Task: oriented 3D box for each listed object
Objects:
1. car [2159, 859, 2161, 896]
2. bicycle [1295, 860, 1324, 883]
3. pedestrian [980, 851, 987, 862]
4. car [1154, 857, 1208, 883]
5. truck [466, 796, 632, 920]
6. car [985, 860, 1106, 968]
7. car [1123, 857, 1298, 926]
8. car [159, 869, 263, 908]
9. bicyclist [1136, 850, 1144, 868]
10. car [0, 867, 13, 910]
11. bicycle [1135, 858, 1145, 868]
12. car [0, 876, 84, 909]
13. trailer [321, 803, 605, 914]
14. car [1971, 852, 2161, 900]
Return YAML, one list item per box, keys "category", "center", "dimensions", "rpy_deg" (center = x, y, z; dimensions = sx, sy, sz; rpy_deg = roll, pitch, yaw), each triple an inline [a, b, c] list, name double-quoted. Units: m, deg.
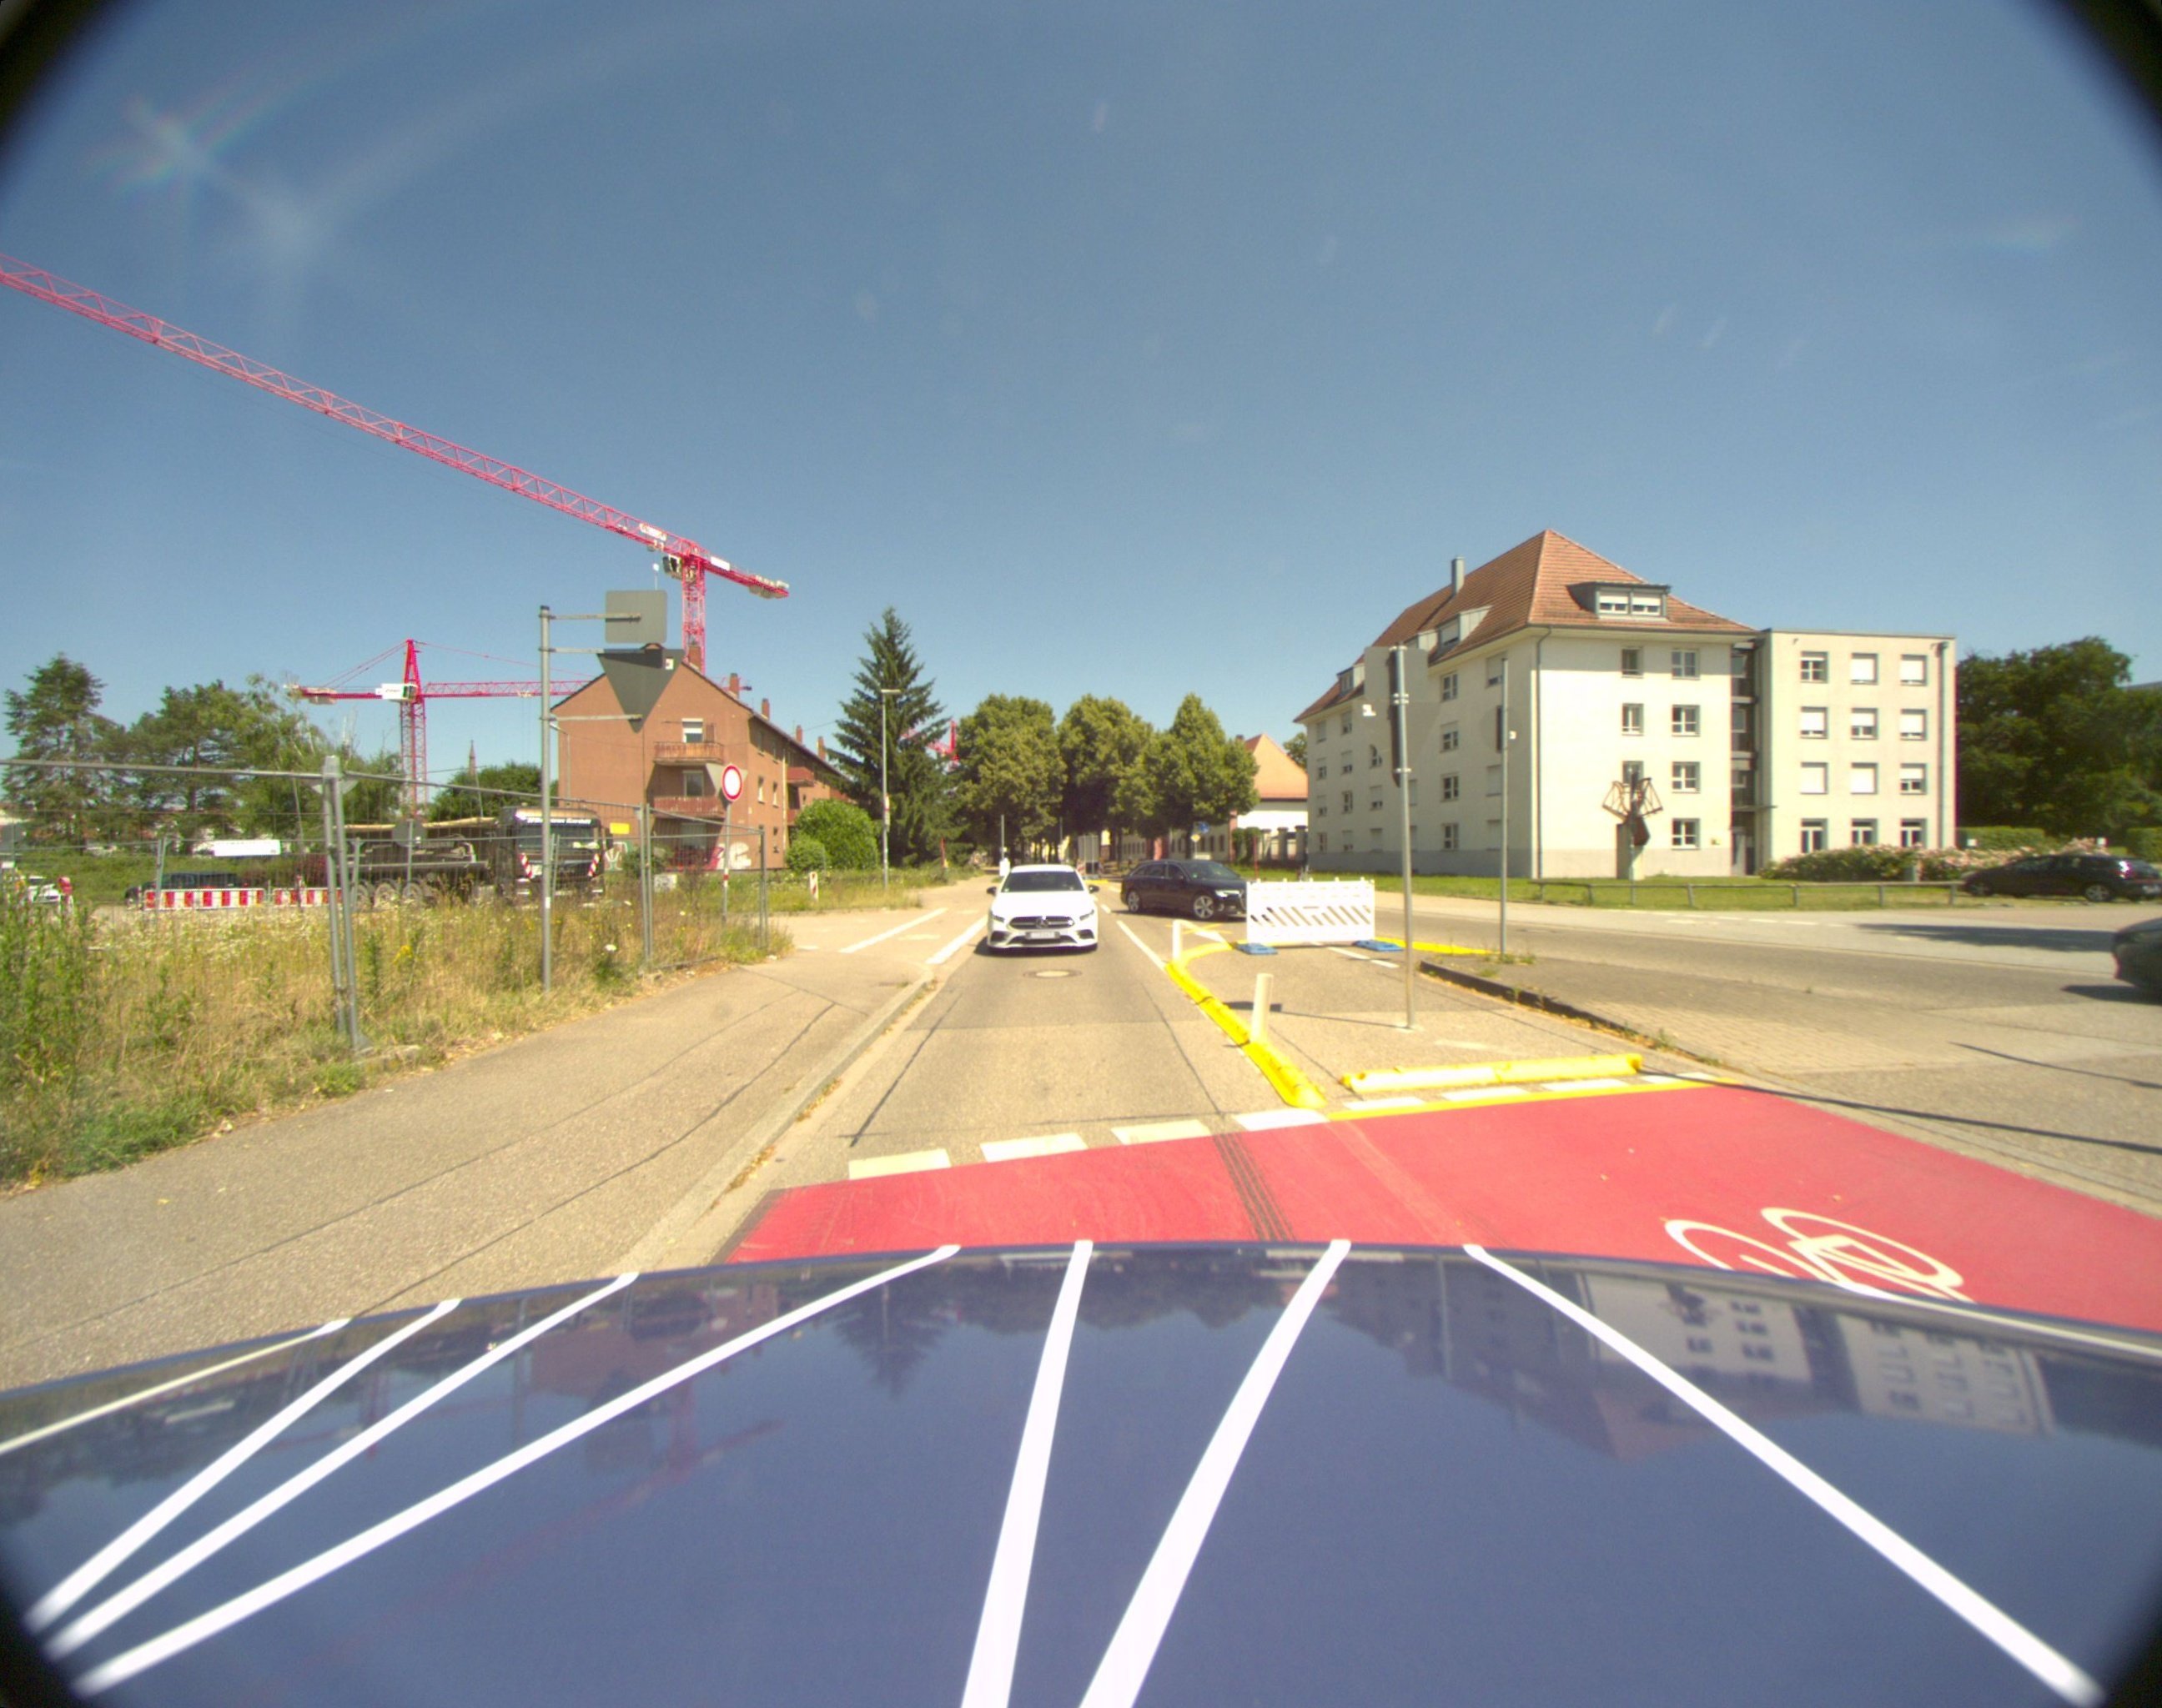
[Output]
- category: "car"
  center: [36.525, 0.770, 23.460]
  dimensions: [1.356, 1.210, 3.511]
  rpy_deg: [0, 0, -7]
- category: "bicycle"
  center: [11.185, 0.844, 37.304]
  dimensions: [0.709, 1.018, 1.985]
  rpy_deg: [-3, 1, -2]
- category: "pedestrian"
  center: [-13.700, 0.347, 106.769]
  dimensions: [1.024, 1.509, 0.682]
  rpy_deg: [-1, 1, -2]
- category: "car"
  center: [5.685, 0.864, 43.793]
  dimensions: [1.821, 1.395, 4.630]
  rpy_deg: [1, 0, -9]
- category: "truck"
  center: [-17.153, 0.128, 24.452]
  dimensions: [4.950, 3.512, 3.171]
  rpy_deg: [0, 0, 40]
- category: "car"
  center: [-0.578, 0.928, 13.508]
  dimensions: [1.780, 1.536, 3.962]
  rpy_deg: [-2, 0, -1]
- category: "car"
  center: [3.029, 0.845, 18.812]
  dimensions: [1.804, 1.443, 4.608]
  rpy_deg: [-2, 0, -28]
- category: "car"
  center: [-37.118, 1.456, 32.440]
  dimensions: [3.413, 1.604, 1.371]
  rpy_deg: [0, 0, 11]
- category: "bicyclist"
  center: [5.485, 0.466, 70.426]
  dimensions: [0.568, 1.601, 0.740]
  rpy_deg: [0, 1, -7]
- category: "car"
  center: [-52.425, 1.627, 34.807]
  dimensions: [4.678, 2.002, 1.785]
  rpy_deg: [0, 0, 3]
- category: "bicycle"
  center: [5.471, 0.794, 70.520]
  dimensions: [0.562, 0.910, 1.907]
  rpy_deg: [0, 0, -7]
- category: "car"
  center: [-47.101, 1.697, 34.275]
  dimensions: [2.786, 1.397, 1.420]
  rpy_deg: [0, 1, 10]
- category: "trailer"
  center: [-21.738, 0.189, 26.784]
  dimensions: [8.974, 3.512, 3.169]
  rpy_deg: [0, 0, 16]
- category: "car"
  center: [30.275, 0.610, 23.145]
  dimensions: [1.659, 1.319, 3.805]
  rpy_deg: [0, 0, -7]
